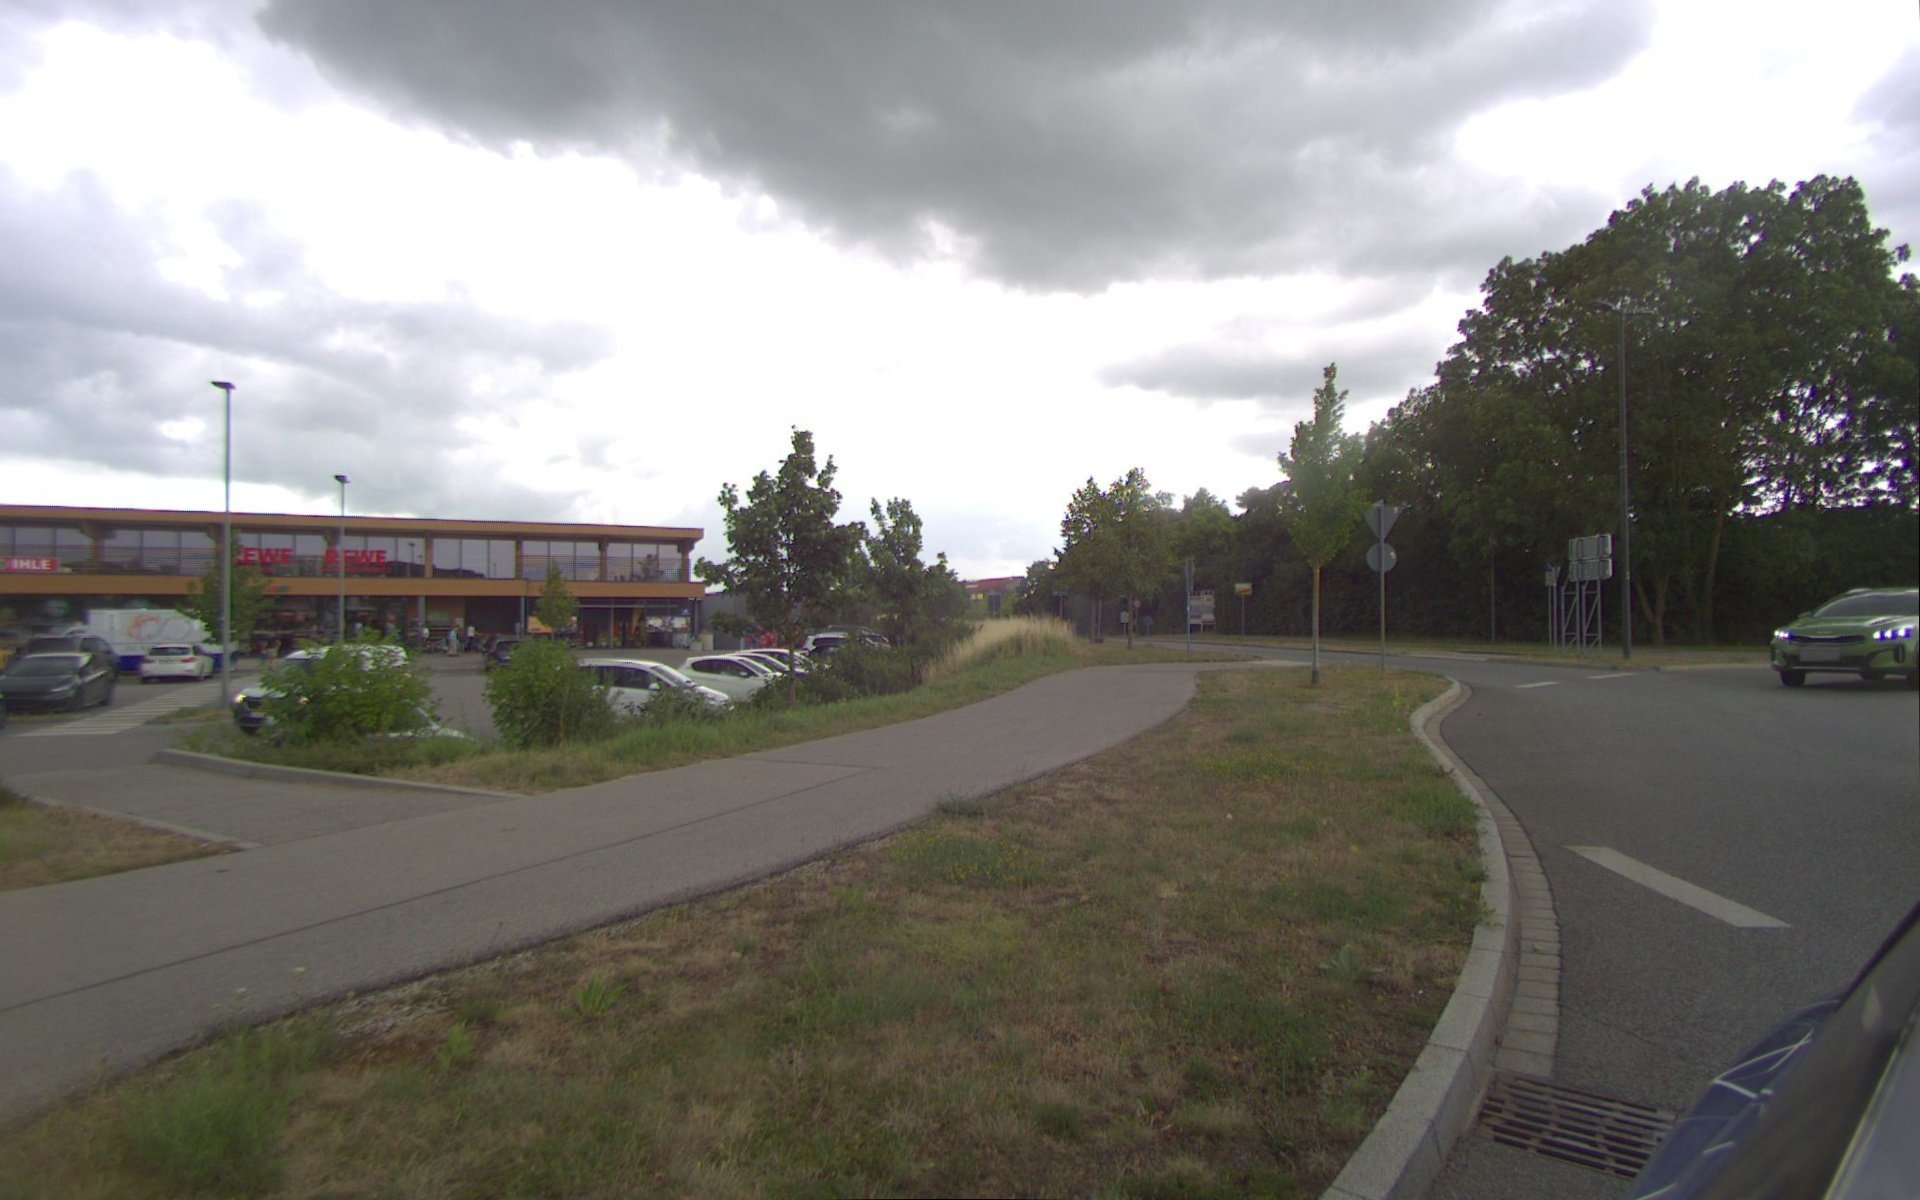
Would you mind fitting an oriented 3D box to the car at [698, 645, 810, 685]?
[{"bbox_3d":[-7.188,2.267,35.479,3.613,1.311,1.413,-1,0,7],"label":"car"}]

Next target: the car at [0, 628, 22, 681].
[{"bbox_3d":[-35.376,1.977,36.013,1.736,1.878,4.006,-1,-1,-24],"label":"car"}]

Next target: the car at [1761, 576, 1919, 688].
[{"bbox_3d":[14.913,0.428,15.506,4.779,1.522,1.929,-1,-2,-21],"label":"car"}]

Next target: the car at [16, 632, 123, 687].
[{"bbox_3d":[-32.292,2.107,36.842,1.814,1.747,4.126,-2,0,-25],"label":"car"}]

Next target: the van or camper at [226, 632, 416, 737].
[{"bbox_3d":[-14.735,1.849,23.694,1.730,2.125,4.808,-2,-2,-5],"label":"van or camper"}]

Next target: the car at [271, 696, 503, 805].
[{"bbox_3d":[-9.228,2.330,16.258,3.698,1.390,1.565,-2,-1,29],"label":"car"}]

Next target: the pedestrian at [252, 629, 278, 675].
[{"bbox_3d":[-31.605,2.359,46.028,0.914,2.039,0.806,0,-1,-32],"label":"pedestrian"}]

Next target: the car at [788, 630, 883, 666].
[{"bbox_3d":[-5.347,2.057,43.692,3.823,1.483,1.694,-1,-1,7],"label":"car"}]

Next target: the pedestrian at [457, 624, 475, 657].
[{"bbox_3d":[-29.197,2.389,59.765,0.910,1.923,0.794,0,-4,-30],"label":"pedestrian"}]

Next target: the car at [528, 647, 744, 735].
[{"bbox_3d":[-7.393,2.062,23.357,4.363,1.694,1.799,2,0,2],"label":"car"}]

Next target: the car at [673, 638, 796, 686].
[{"bbox_3d":[-7.046,1.938,31.893,3.601,1.311,1.718,-1,0,-7],"label":"car"}]

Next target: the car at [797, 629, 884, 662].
[{"bbox_3d":[-5.612,2.121,47.844,3.823,1.483,1.694,-1,-1,7],"label":"car"}]

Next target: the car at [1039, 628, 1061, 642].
[{"bbox_3d":[10.076,3.930,113.303,1.728,1.449,4.083,-2,-3,-4],"label":"car"}]

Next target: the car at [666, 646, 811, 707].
[{"bbox_3d":[-6.424,2.214,29.763,3.920,1.527,2.002,-1,0,-5],"label":"car"}]

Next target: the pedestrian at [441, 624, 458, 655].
[{"bbox_3d":[-28.264,2.181,56.002,0.788,1.678,0.751,0,-1,-23],"label":"pedestrian"}]

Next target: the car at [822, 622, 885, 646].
[{"bbox_3d":[-6.843,2.149,64.766,3.918,1.462,1.887,-1,-1,-8],"label":"car"}]

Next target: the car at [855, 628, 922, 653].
[{"bbox_3d":[-4.358,2.483,61.890,3.823,1.483,1.694,-1,-1,7],"label":"car"}]

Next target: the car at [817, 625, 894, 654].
[{"bbox_3d":[-5.559,2.125,54.130,3.823,1.483,1.694,-1,-1,7],"label":"car"}]

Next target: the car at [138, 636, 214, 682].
[{"bbox_3d":[-29.677,2.193,38.428,1.697,1.549,4.004,0,-1,-29],"label":"car"}]

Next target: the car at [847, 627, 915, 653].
[{"bbox_3d":[-4.669,2.386,60.104,3.823,1.483,1.694,-1,-1,7],"label":"car"}]

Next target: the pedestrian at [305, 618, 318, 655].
[{"bbox_3d":[-34.983,1.941,54.607,0.514,1.974,0.579,0,-1,-25],"label":"pedestrian"}]

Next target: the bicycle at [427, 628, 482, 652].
[{"bbox_3d":[-28.936,2.278,58.007,2.810,1.326,0.981,0,-1,-26],"label":"bicycle"}]

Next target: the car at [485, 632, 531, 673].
[{"bbox_3d":[-19.277,2.183,43.107,1.680,1.588,3.675,0,-1,-26],"label":"car"}]

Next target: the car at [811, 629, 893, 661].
[{"bbox_3d":[-5.399,2.257,50.952,3.823,1.483,1.694,-1,-1,7],"label":"car"}]

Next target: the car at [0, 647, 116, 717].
[{"bbox_3d":[-24.084,2.109,26.993,1.697,1.573,4.004,0,-1,-29],"label":"car"}]

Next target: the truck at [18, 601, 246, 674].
[{"bbox_3d":[-35.169,1.508,43.389,7.112,2.843,2.979,0,-1,-29],"label":"truck"}]

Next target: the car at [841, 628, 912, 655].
[{"bbox_3d":[-4.754,2.371,57.841,3.823,1.483,1.694,-1,-1,7],"label":"car"}]
